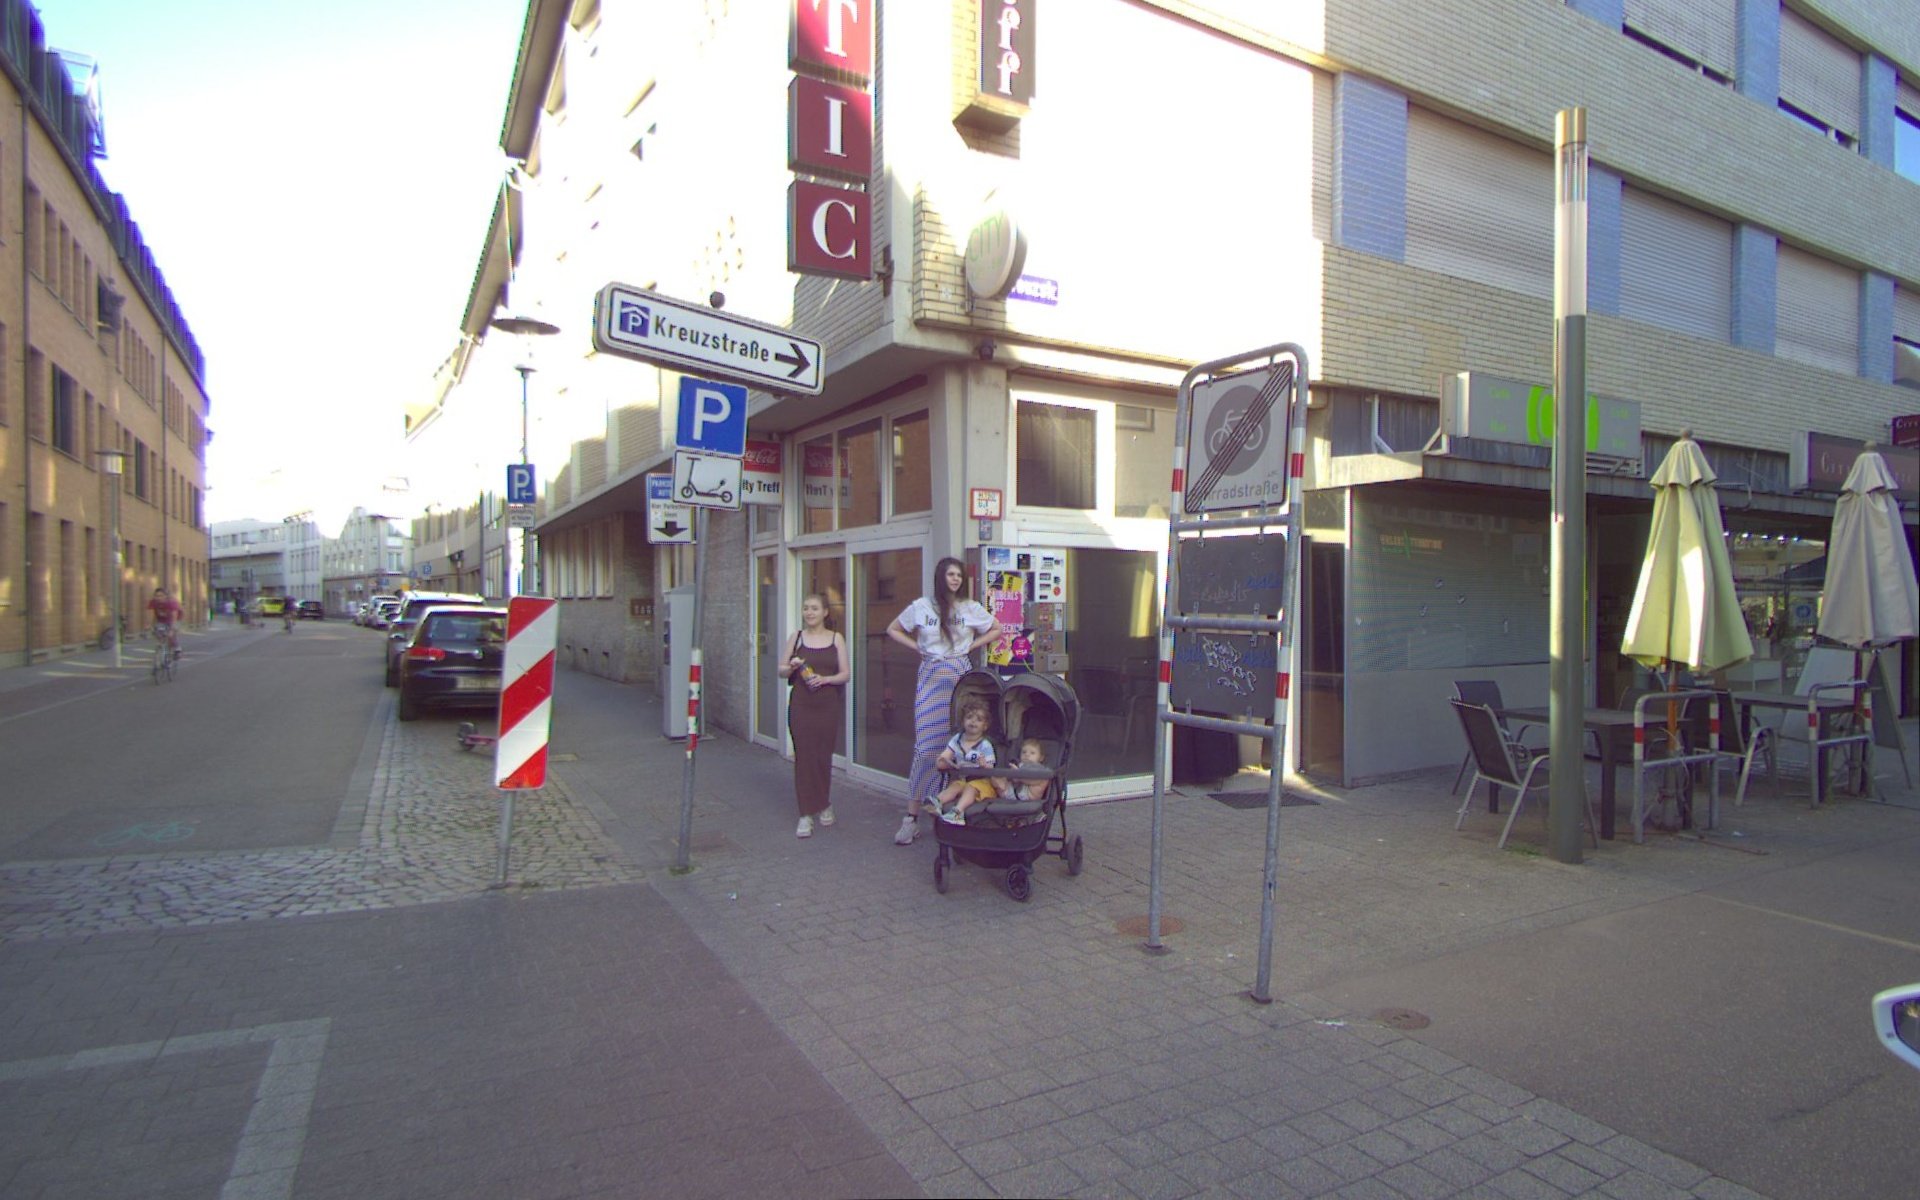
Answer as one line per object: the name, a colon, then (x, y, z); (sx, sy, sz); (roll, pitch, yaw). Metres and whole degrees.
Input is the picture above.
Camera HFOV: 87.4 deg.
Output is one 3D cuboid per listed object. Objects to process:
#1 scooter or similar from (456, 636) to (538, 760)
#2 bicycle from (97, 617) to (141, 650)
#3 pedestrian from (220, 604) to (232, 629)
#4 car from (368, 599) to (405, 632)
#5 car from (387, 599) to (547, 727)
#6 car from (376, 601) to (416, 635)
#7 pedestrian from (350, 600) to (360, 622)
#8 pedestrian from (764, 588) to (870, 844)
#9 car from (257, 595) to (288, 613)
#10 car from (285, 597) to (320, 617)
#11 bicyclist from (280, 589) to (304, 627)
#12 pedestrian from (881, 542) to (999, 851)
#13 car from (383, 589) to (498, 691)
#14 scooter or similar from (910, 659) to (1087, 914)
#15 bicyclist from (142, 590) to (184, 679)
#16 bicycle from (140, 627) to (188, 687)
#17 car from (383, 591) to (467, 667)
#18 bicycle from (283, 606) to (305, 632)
scooter or similar: (-4.684, 0.977, 10.165); (0.865, 1.199, 0.208); (0, 0, 21)
bicycle: (-25.388, 0.997, 30.349); (0.636, 0.893, 2.534); (1, -1, -32)
pedestrian: (-47.478, 1.063, 64.953); (0.537, 1.565, 0.402); (1, -1, -31)
car: (-33.299, 0.872, 58.277); (1.675, 1.798, 3.625); (3, -2, -31)
car: (-6.983, 0.786, 14.084); (1.720, 1.505, 3.781); (3, -1, -29)
car: (-30.151, 0.960, 53.655); (1.675, 1.701, 3.478); (3, -2, -31)
pedestrian: (-41.801, 0.773, 69.379); (0.566, 1.499, 0.469); (0, 0, -37)
pedestrian: (-0.954, 0.731, 6.677); (0.526, 1.601, 0.508); (-3, 1, -23)
car: (-67.416, 0.361, 98.501); (1.922, 1.673, 3.788); (2, -1, -43)
car: (-56.573, 0.560, 86.406); (1.922, 1.673, 3.788); (0, 0, -43)
bicyclist: (-30.152, 0.353, 45.368); (0.764, 1.678, 0.949); (-3, 1, -31)
pedestrian: (-0.116, 0.580, 6.353); (0.647, 1.844, 0.571); (-2, 1, 0)
car: (-9.720, 0.706, 18.706); (1.654, 1.683, 4.049); (3, -2, -29)
scooter or similar: (0.243, 0.937, 5.413); (0.783, 1.159, 0.954); (0, 1, 13)
bicyclist: (-13.953, 0.595, 17.604); (0.423, 1.518, 0.868); (-2, 1, -31)
bicycle: (-13.941, 0.977, 17.618); (0.431, 0.970, 1.578); (0, 0, -30)
car: (-13.344, 0.700, 25.003); (1.654, 1.727, 3.981); (3, -2, -29)
bicycle: (-30.132, 0.839, 45.438); (0.697, 1.118, 1.812); (-4, 2, -31)
